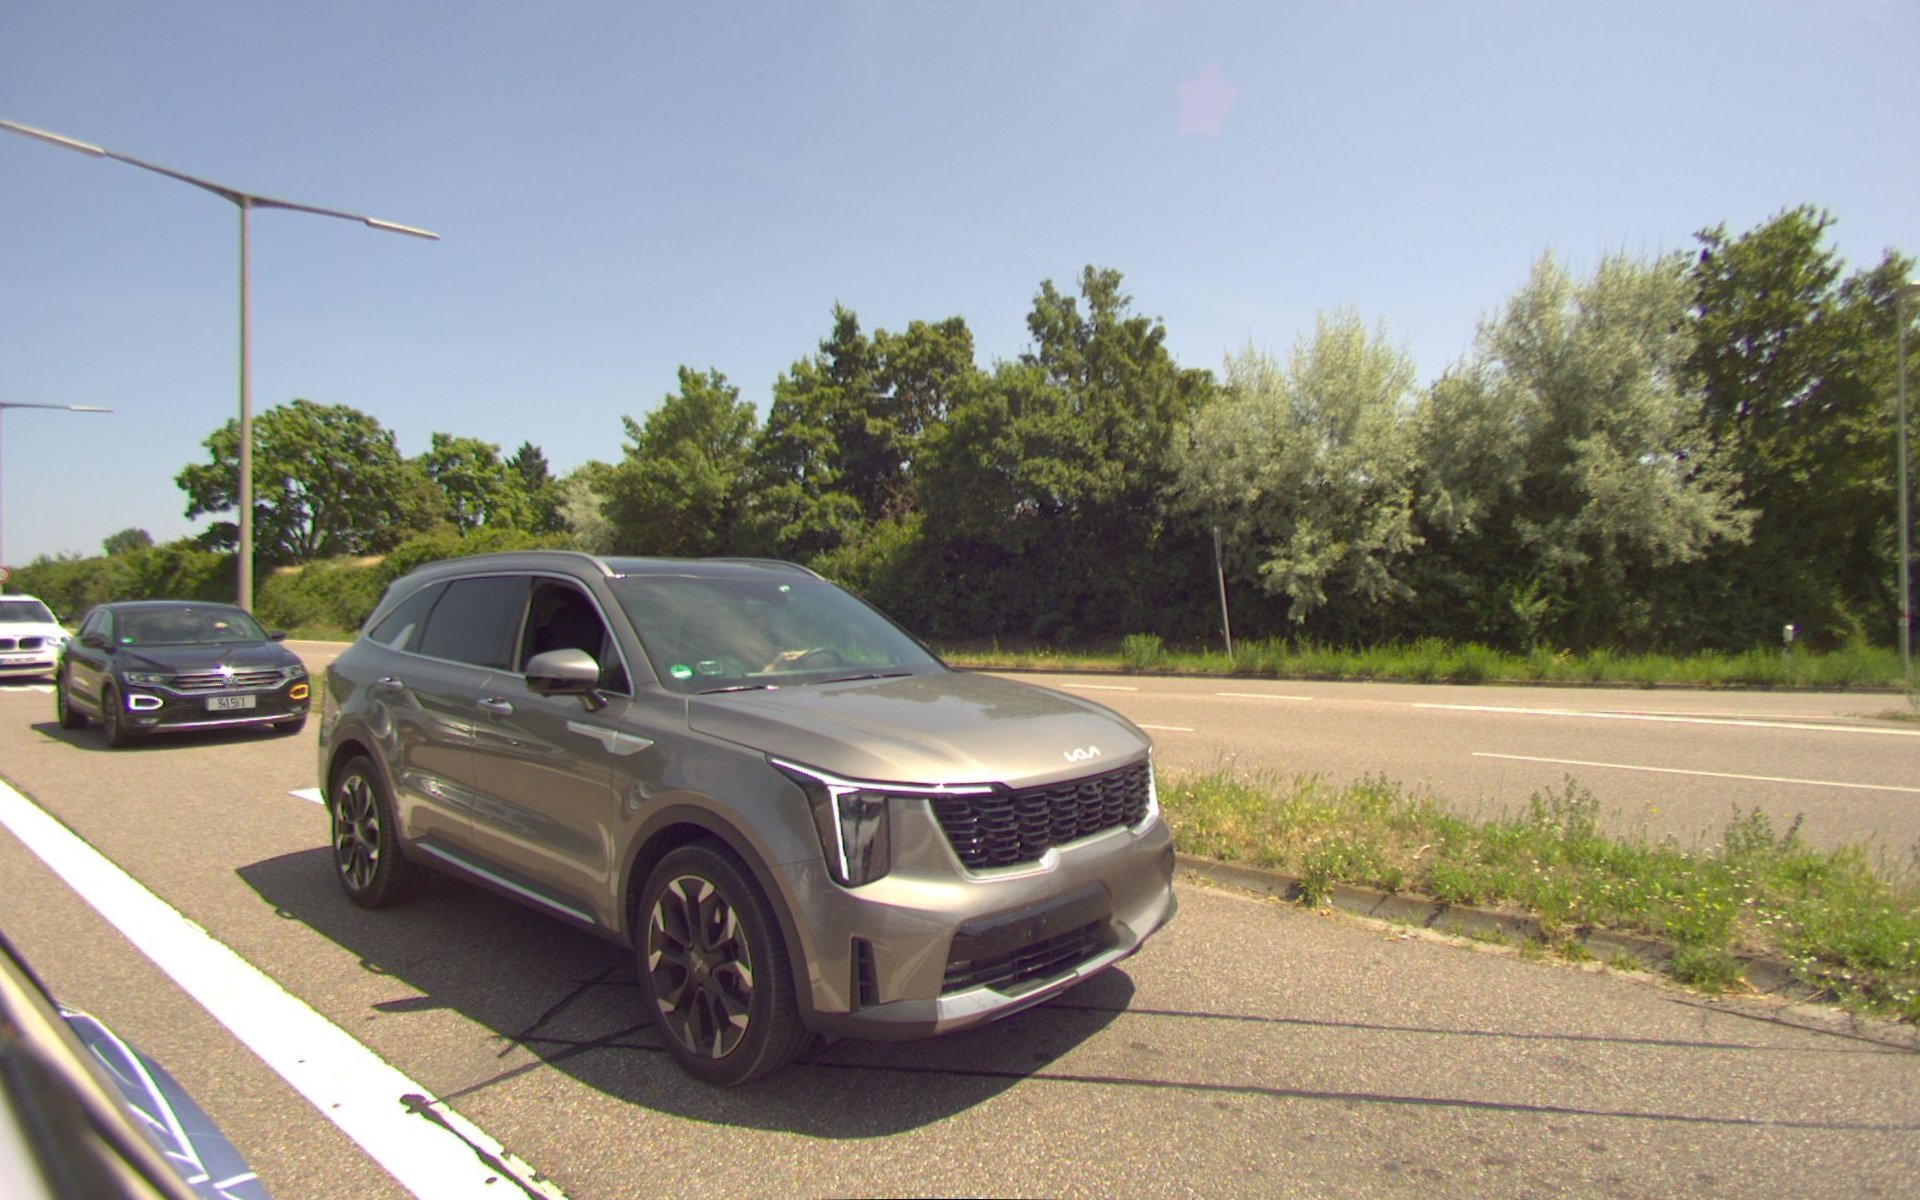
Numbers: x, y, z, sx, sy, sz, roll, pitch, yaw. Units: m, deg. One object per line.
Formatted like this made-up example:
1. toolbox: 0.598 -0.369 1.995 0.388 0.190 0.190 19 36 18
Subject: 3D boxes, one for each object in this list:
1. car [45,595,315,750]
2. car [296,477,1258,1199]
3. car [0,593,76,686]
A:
1. car: -9.230 0.721 11.870 3.997 1.511 1.731 -1 0 41
2. car: -1.191 0.580 4.513 4.528 1.681 1.762 -1 -1 40
3. car: -18.816 0.705 19.630 3.998 1.684 1.897 0 -1 40
